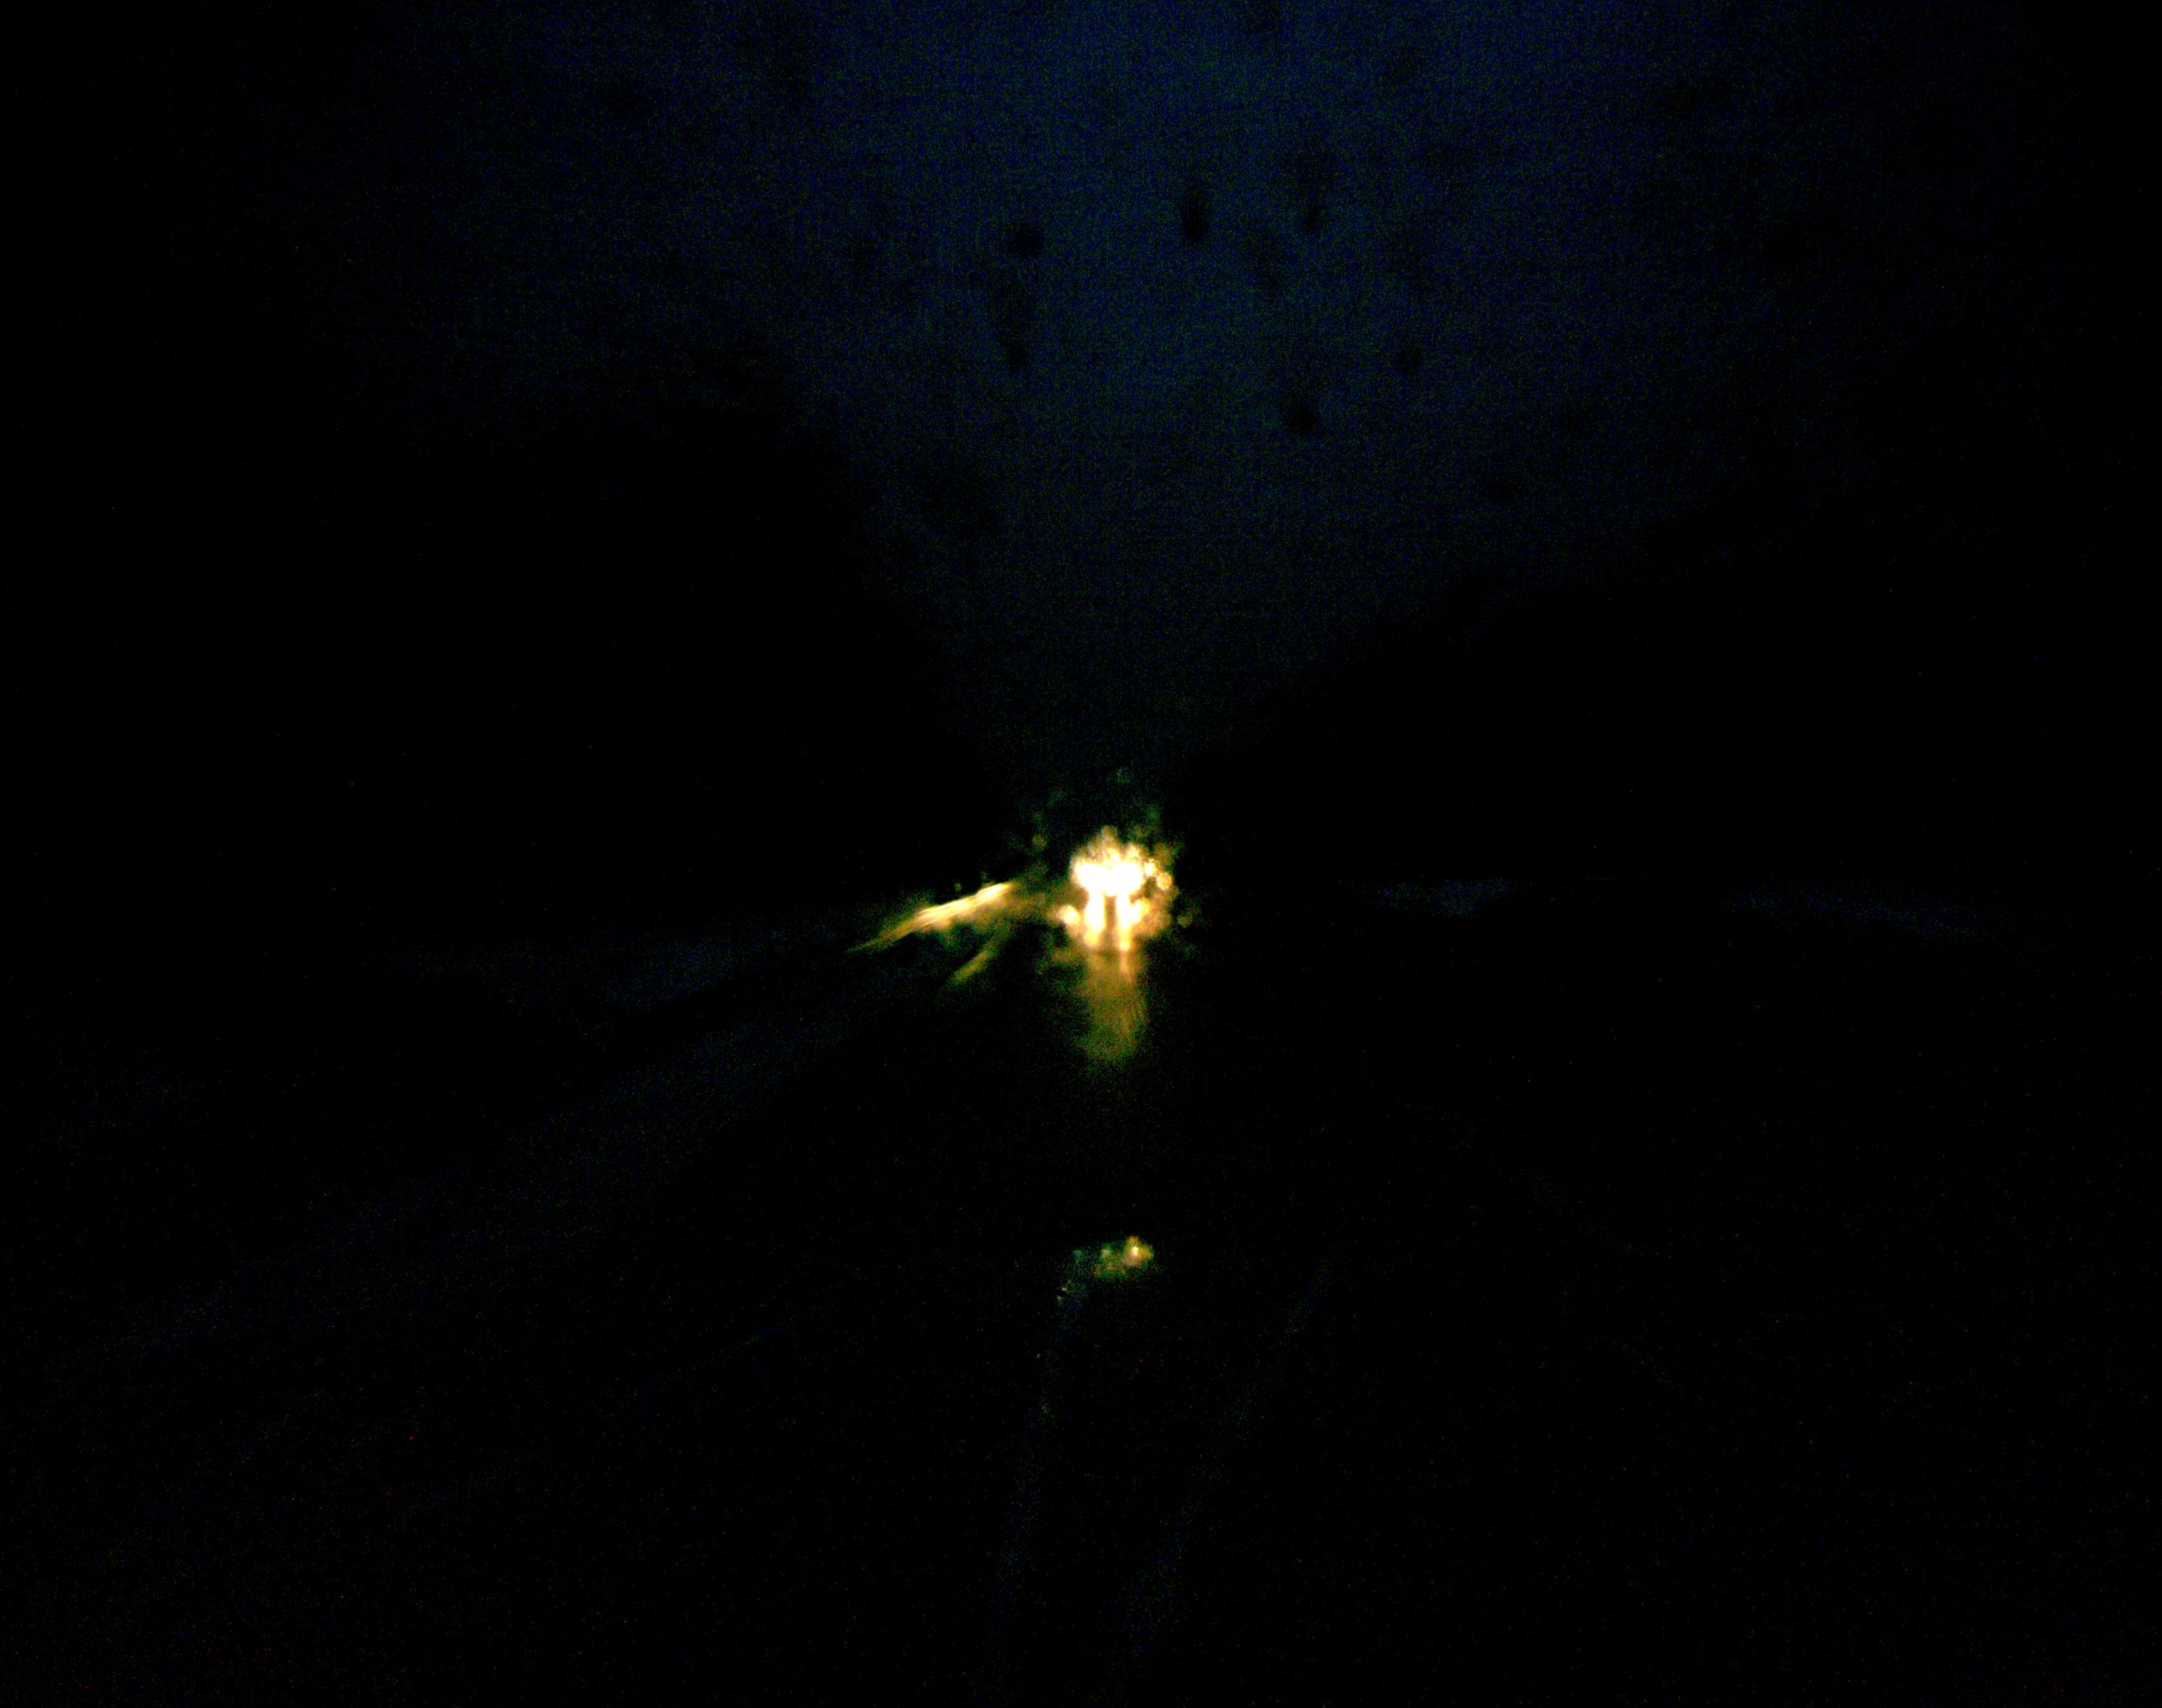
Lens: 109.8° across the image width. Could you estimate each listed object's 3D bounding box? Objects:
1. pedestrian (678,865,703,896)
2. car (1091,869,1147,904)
[{"bbox_3d":[-23.480,1.608,45.701,0.923,1.816,0.965,-3,-2,25],"label":"pedestrian"},{"bbox_3d":[1.728,1.392,33.258,1.723,1.425,3.682,-2,-2,15],"label":"car"}]
